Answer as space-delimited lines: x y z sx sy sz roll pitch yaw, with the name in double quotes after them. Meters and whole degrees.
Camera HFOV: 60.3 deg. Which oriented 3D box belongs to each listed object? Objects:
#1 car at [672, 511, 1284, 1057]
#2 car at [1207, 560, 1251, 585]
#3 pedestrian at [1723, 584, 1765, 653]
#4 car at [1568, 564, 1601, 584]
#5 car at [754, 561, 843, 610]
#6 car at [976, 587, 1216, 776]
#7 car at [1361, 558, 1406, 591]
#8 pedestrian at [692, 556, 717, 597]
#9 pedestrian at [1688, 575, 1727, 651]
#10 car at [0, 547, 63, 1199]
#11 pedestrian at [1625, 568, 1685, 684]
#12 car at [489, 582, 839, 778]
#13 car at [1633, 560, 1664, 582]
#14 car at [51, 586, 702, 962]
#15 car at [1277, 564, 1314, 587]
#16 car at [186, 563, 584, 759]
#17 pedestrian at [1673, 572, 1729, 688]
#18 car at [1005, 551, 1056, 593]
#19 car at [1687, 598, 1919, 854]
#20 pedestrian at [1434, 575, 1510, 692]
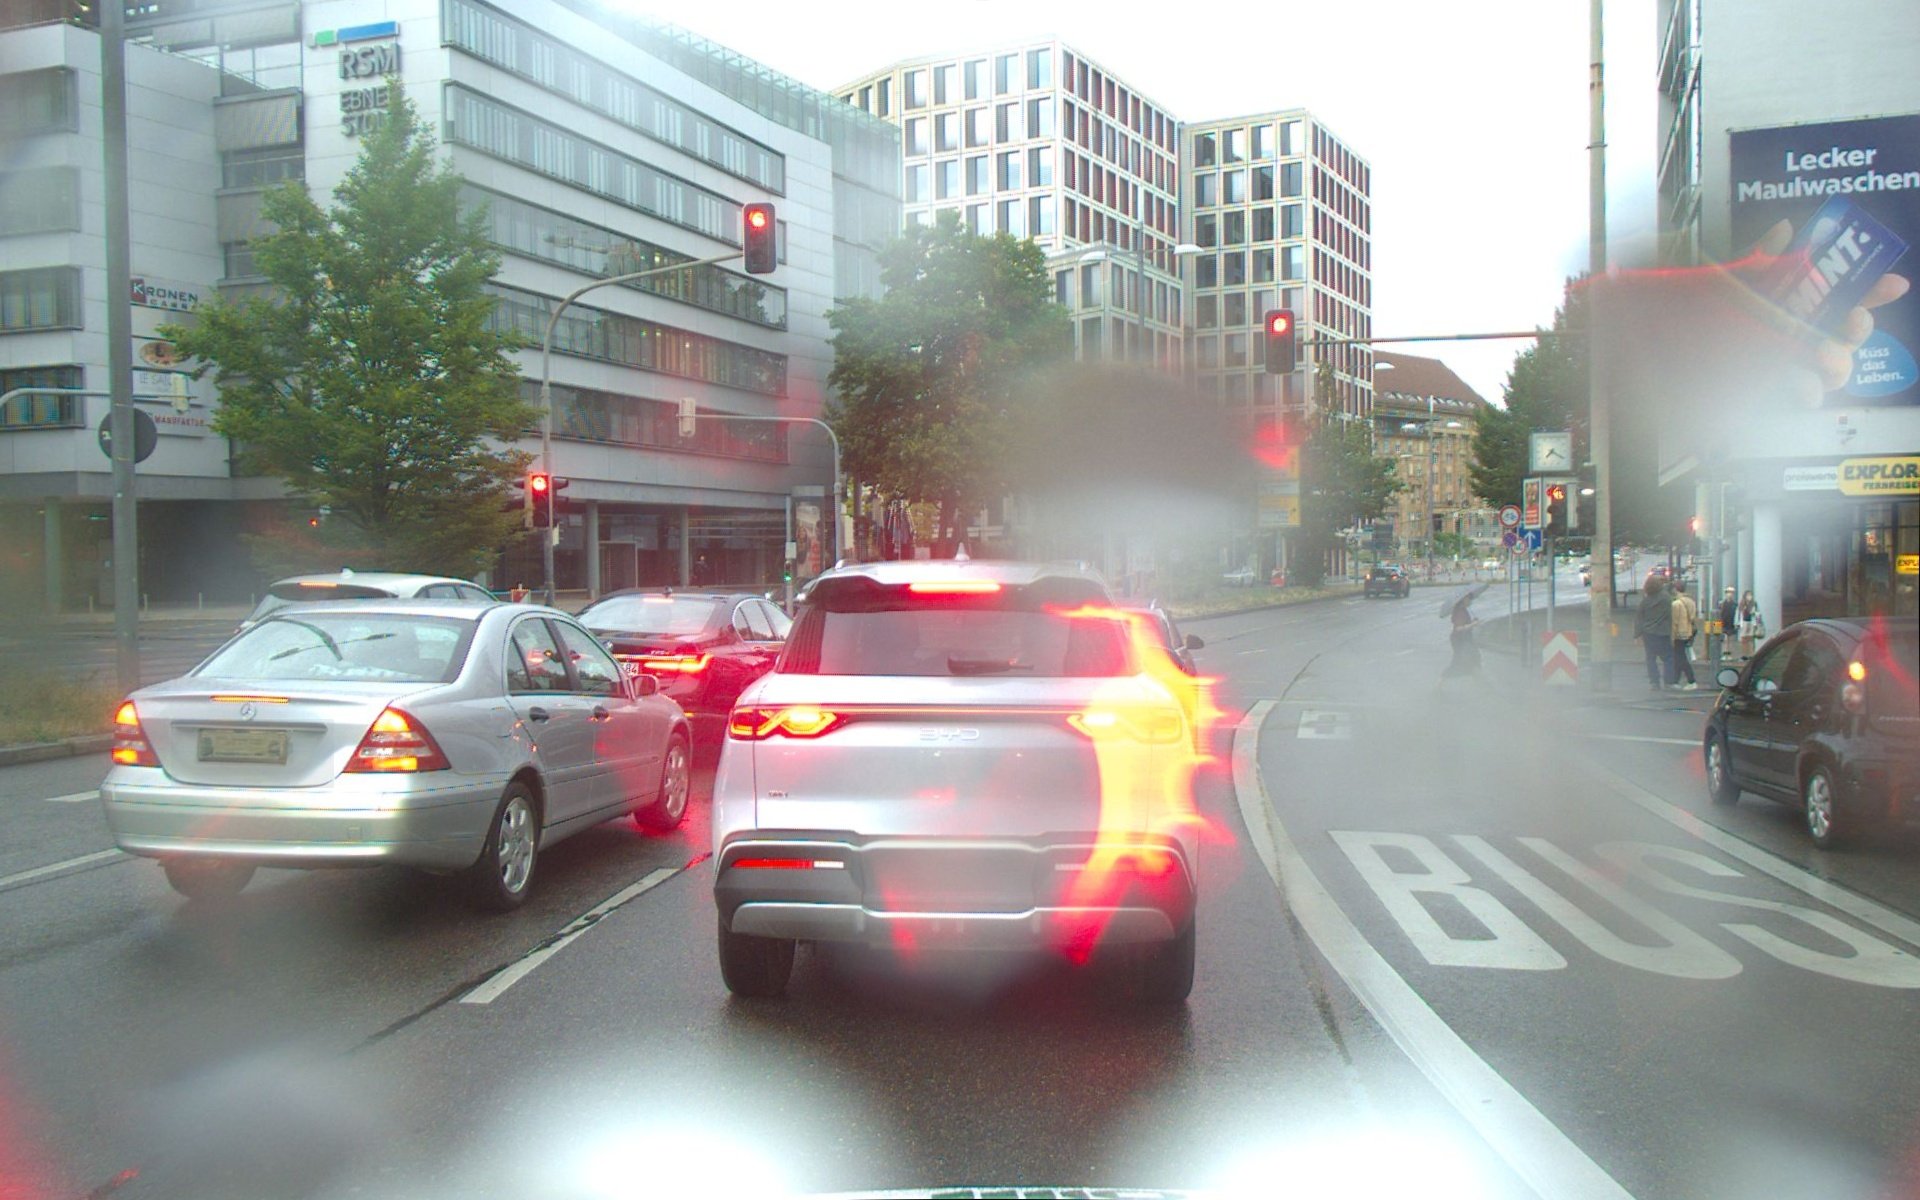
0.120 0.563 7.570 1.952 1.739 4.484 -1 1 2 "car"
19.517 -2.016 119.830 1.954 1.735 4.305 1 2 26 "car"
17.648 0.412 37.243 0.712 1.551 0.760 0 -1 15 "pedestrian"
48.792 -2.019 129.141 1.873 1.536 4.351 2 1 27 "car"
-6.113 -0.586 63.092 1.952 1.735 4.003 1 2 18 "car"
1.434 0.661 15.882 1.913 1.557 4.004 0 0 10 "car"
21.464 -1.284 83.763 1.952 1.579 4.002 1 1 18 "car"
-10.971 -0.997 71.035 0.712 1.757 0.925 0 0 21 "pedestrian"
16.939 0.301 37.492 0.712 1.698 0.691 0 -1 15 "pedestrian"
-2.913 0.637 1.678 1.898 1.460 4.284 0 1 -4 "car"
11.142 0.408 26.539 0.795 1.830 0.711 0 0 15 "pedestrian"
-2.554 0.617 15.322 1.913 1.557 4.004 0 0 10 "car"
58.251 -2.431 139.882 2.007 1.796 4.351 2 1 27 "car"
-2.732 0.689 8.867 1.646 1.512 4.199 0 1 6 "car"
28.162 -2.070 138.732 1.954 1.735 4.305 1 2 26 "car"
-5.322 0.484 15.915 1.844 1.624 4.004 0 1 11 "car"
11.861 0.465 26.496 0.712 1.830 0.740 0 0 15 "pedestrian"
3.877 -1.495 90.480 1.700 2.199 4.496 1 0 17 "car"
6.424 0.758 11.567 1.627 1.498 3.487 0 1 9 "car"
7.803 0.498 25.248 0.904 1.768 0.729 0 0 -6 "pedestrian"
